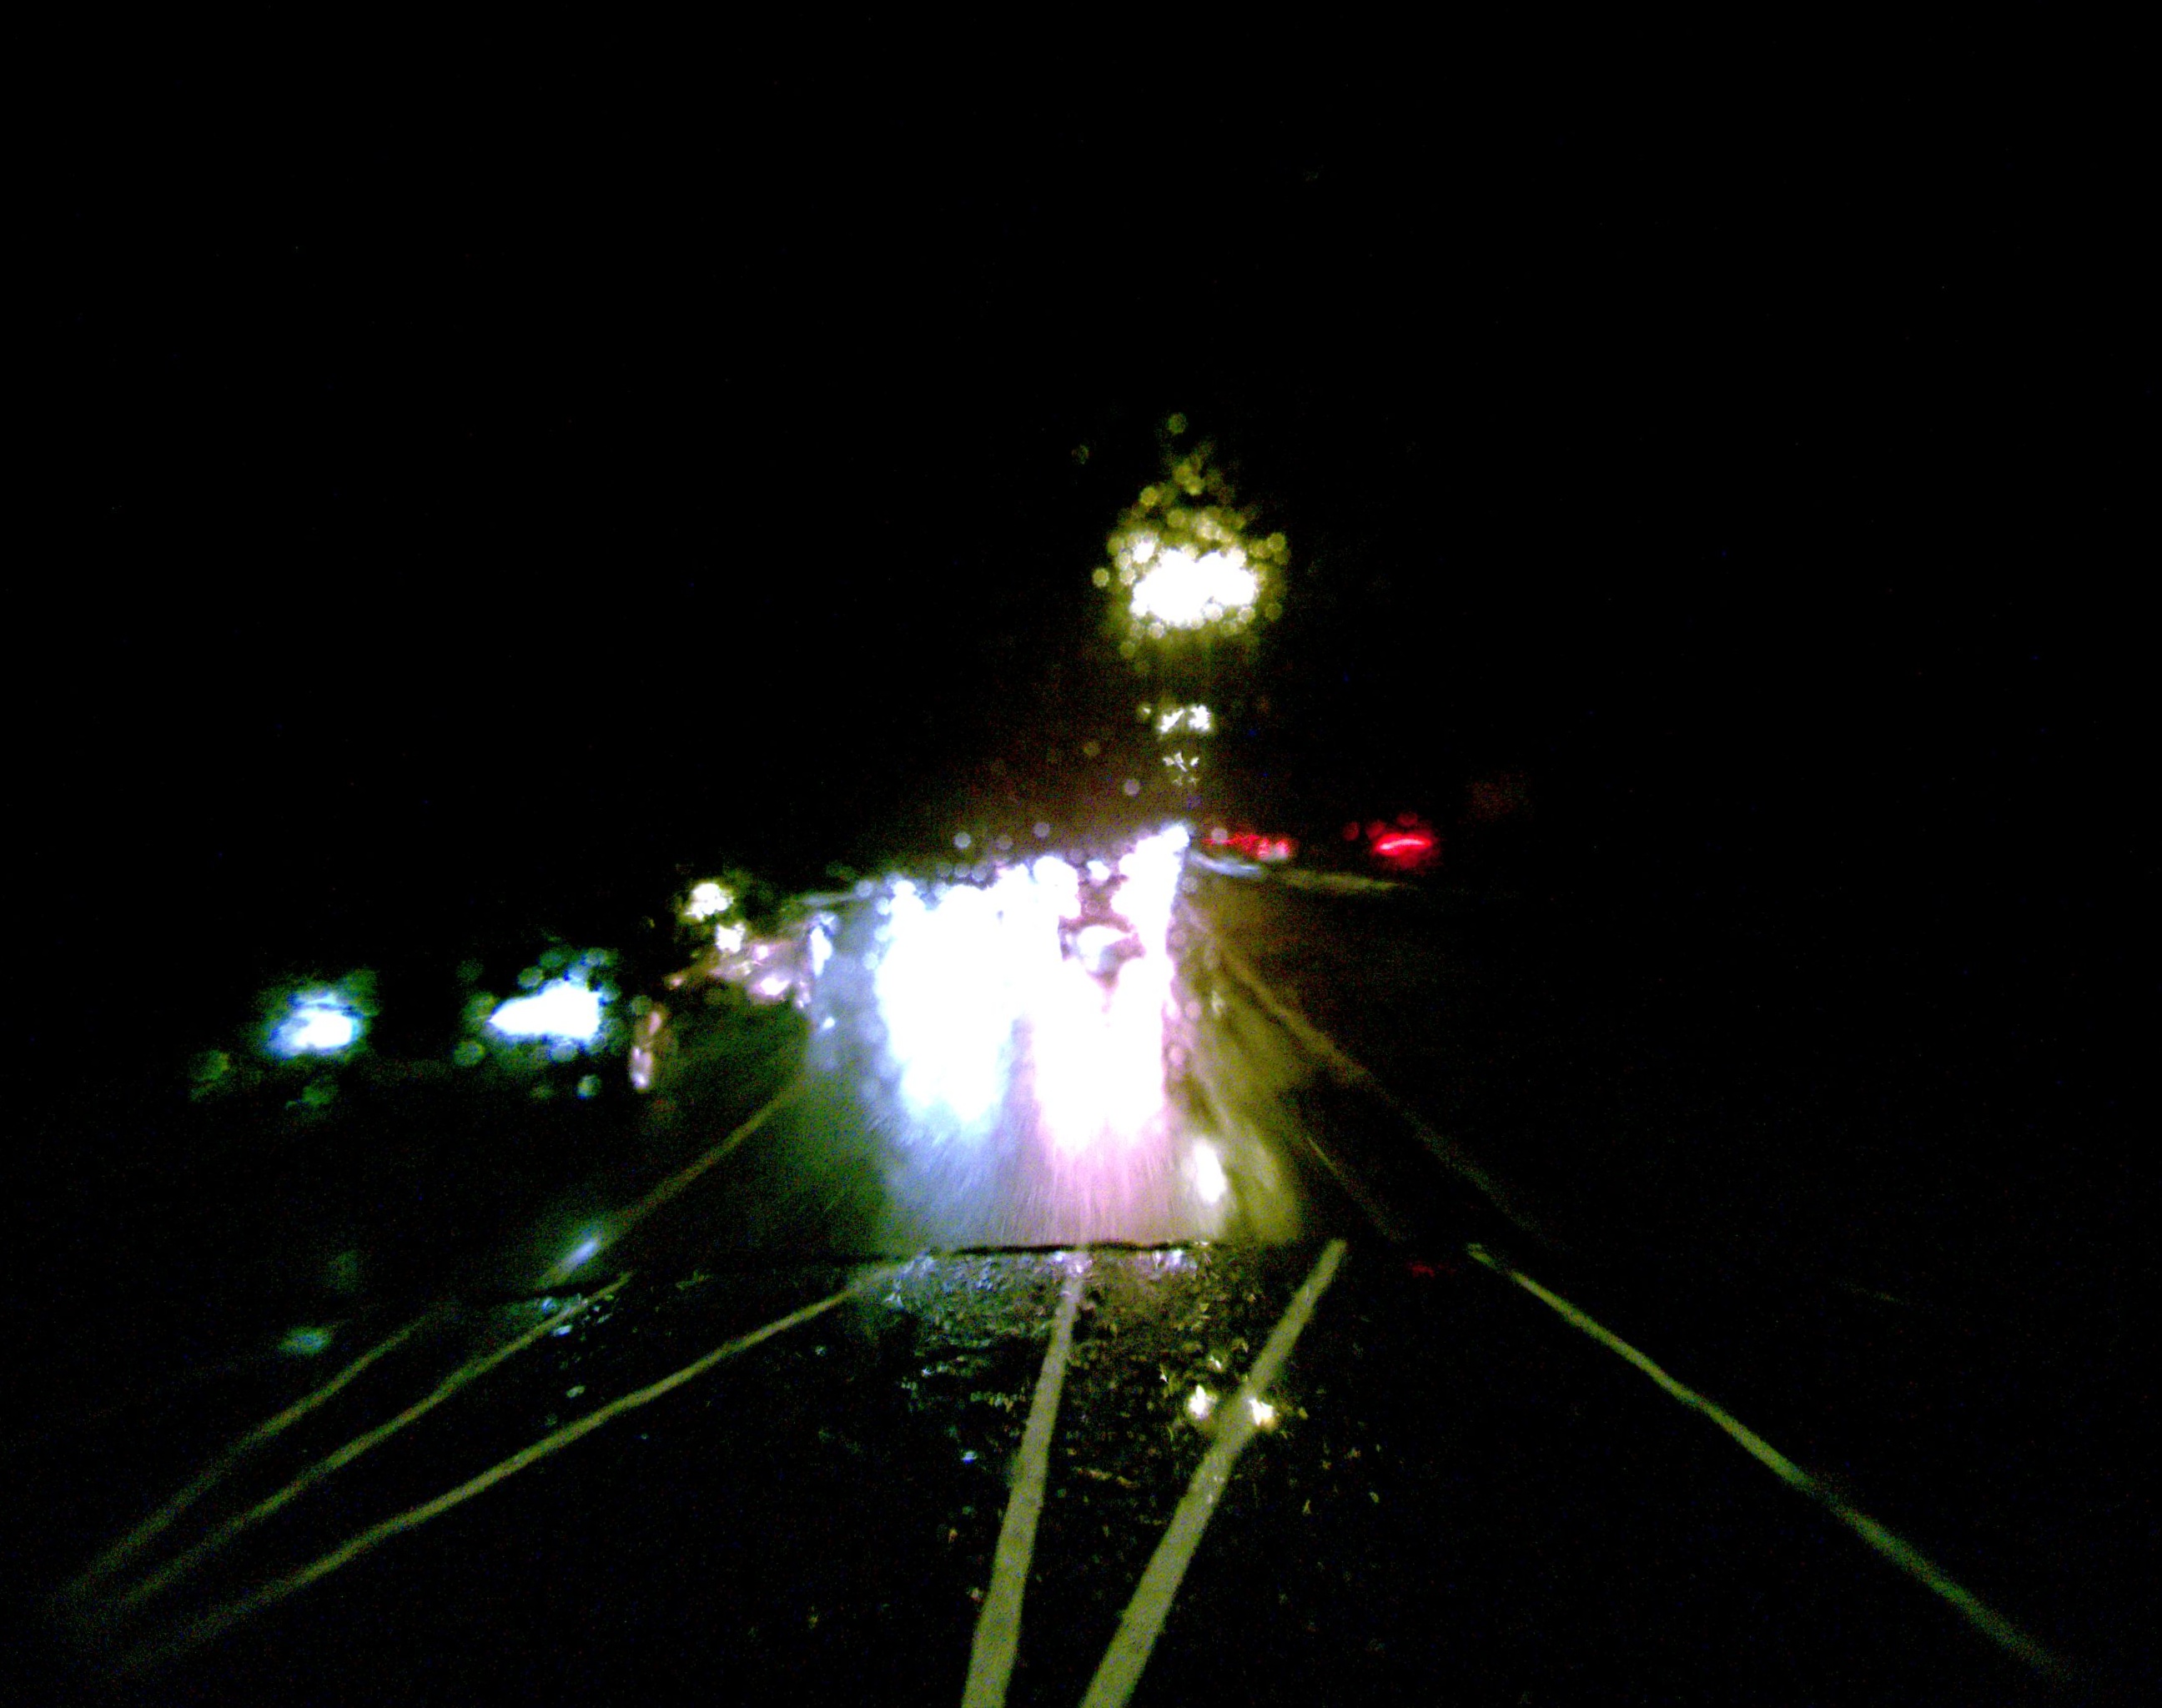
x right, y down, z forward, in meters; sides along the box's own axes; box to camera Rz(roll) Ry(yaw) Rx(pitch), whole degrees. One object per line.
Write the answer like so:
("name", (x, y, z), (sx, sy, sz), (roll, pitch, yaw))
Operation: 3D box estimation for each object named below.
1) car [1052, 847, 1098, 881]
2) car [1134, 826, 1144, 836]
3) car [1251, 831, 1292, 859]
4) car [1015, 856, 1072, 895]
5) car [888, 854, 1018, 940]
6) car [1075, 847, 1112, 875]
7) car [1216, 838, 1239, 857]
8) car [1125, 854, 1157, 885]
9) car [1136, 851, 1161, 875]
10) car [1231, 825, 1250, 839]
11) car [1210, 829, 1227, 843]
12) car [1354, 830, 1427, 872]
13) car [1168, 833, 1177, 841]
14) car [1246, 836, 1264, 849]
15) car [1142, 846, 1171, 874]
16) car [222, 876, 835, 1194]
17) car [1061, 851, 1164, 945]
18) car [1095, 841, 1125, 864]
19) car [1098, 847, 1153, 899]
("car", (-0.279, 0.509, 42.330), (1.998, 1.589, 4.392), (-3, 1, 6))
("car", (12.491, -5.002, 162.542), (1.998, 2.002, 4.000), (-3, 1, 5))
("car", (11.454, -0.534, 45.859), (1.852, 1.562, 3.508), (-3, 0, 6))
("car", (-1.611, 0.911, 34.005), (1.742, 1.410, 4.140), (-4, 1, 7))
("car", (-2.822, 0.897, 17.822), (1.710, 1.513, 4.415), (-4, 1, 7))
("car", (0.902, 0.398, 50.266), (1.998, 1.589, 4.392), (-3, 1, 6))
("car", (14.818, -0.710, 77.184), (1.769, 1.622, 4.249), (-3, 3, 5))
("car", (3.388, 0.844, 43.038), (1.605, 1.417, 3.389), (-6, 2, 5))
("car", (4.852, 0.610, 54.564), (1.605, 1.417, 3.389), (-6, 2, 5))
("car", (24.311, -3.348, 115.789), (1.875, 1.849, 3.999), (-4, 2, 1))
("car", (18.050, -2.367, 99.555), (1.873, 1.598, 4.249), (-3, 2, 7))
("car", (13.094, -0.175, 32.411), (1.778, 1.584, 4.562), (-3, 1, 8))
("car", (23.177, -4.345, 192.366), (1.997, 1.670, 4.001), (-4, 2, 9))
("car", (20.631, -1.382, 90.141), (1.715, 1.415, 4.669), (-1, 1, 8))
("car", (6.145, 0.471, 62.013), (1.998, 2.002, 3.999), (-4, 2, 2))
("car", (-3.791, 1.073, 6.470), (1.677, 1.497, 4.560), (-5, 0, 2))
("car", (0.686, 0.709, 13.993), (1.496, 1.416, 3.391), (-3, 1, 8))
("car", (2.366, -0.143, 60.311), (1.998, 1.589, 4.392), (-3, 1, 6))
("car", (1.602, 0.608, 26.084), (1.605, 1.417, 3.390), (-6, 2, 6))
